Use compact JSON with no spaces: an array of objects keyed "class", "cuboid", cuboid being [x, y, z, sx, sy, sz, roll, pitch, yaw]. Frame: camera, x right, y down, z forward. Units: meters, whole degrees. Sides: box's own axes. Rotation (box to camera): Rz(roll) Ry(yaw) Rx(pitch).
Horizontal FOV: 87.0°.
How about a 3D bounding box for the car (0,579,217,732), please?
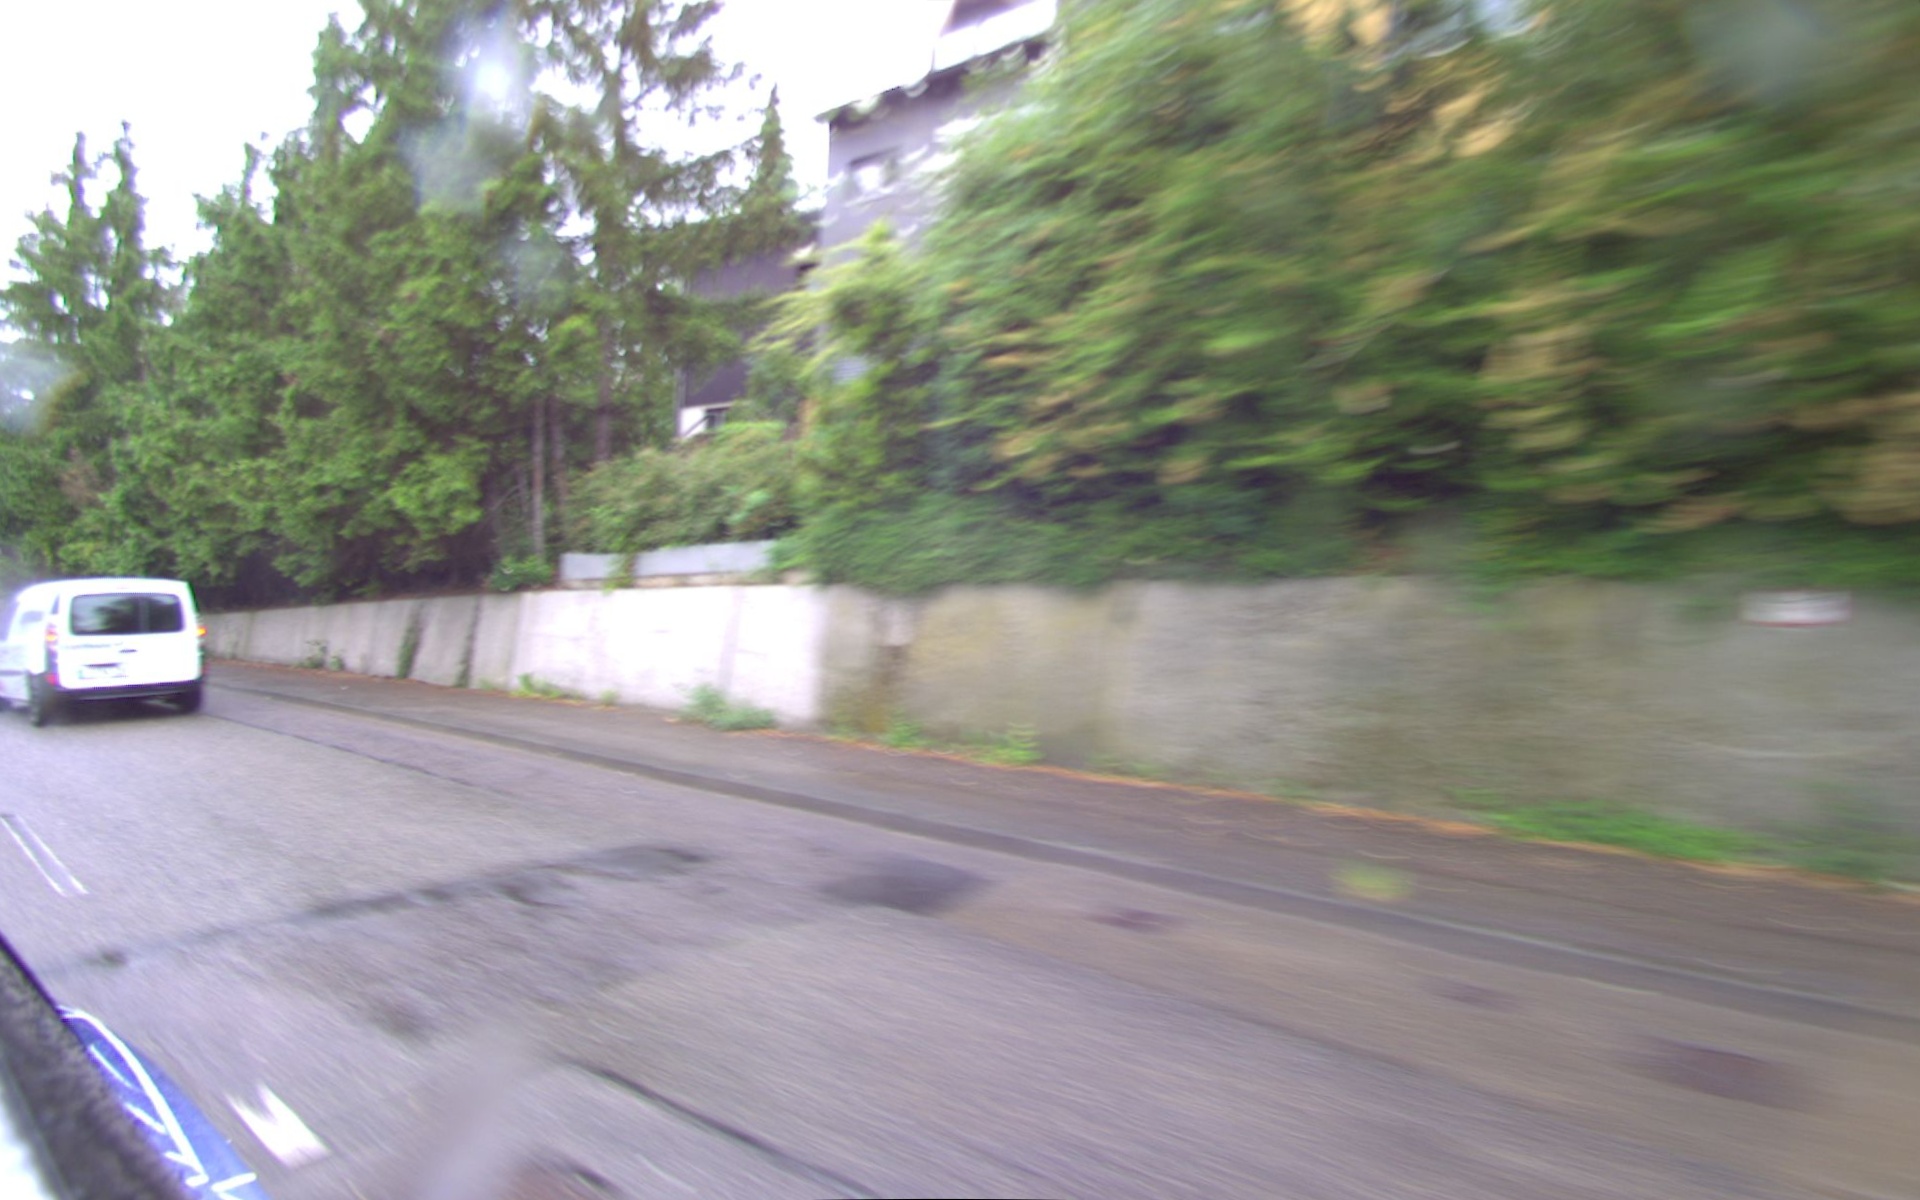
[{"class":"car","cuboid":[-12.061,0.645,13.949,4.415,1.768,1.822,0,1,39]}]
